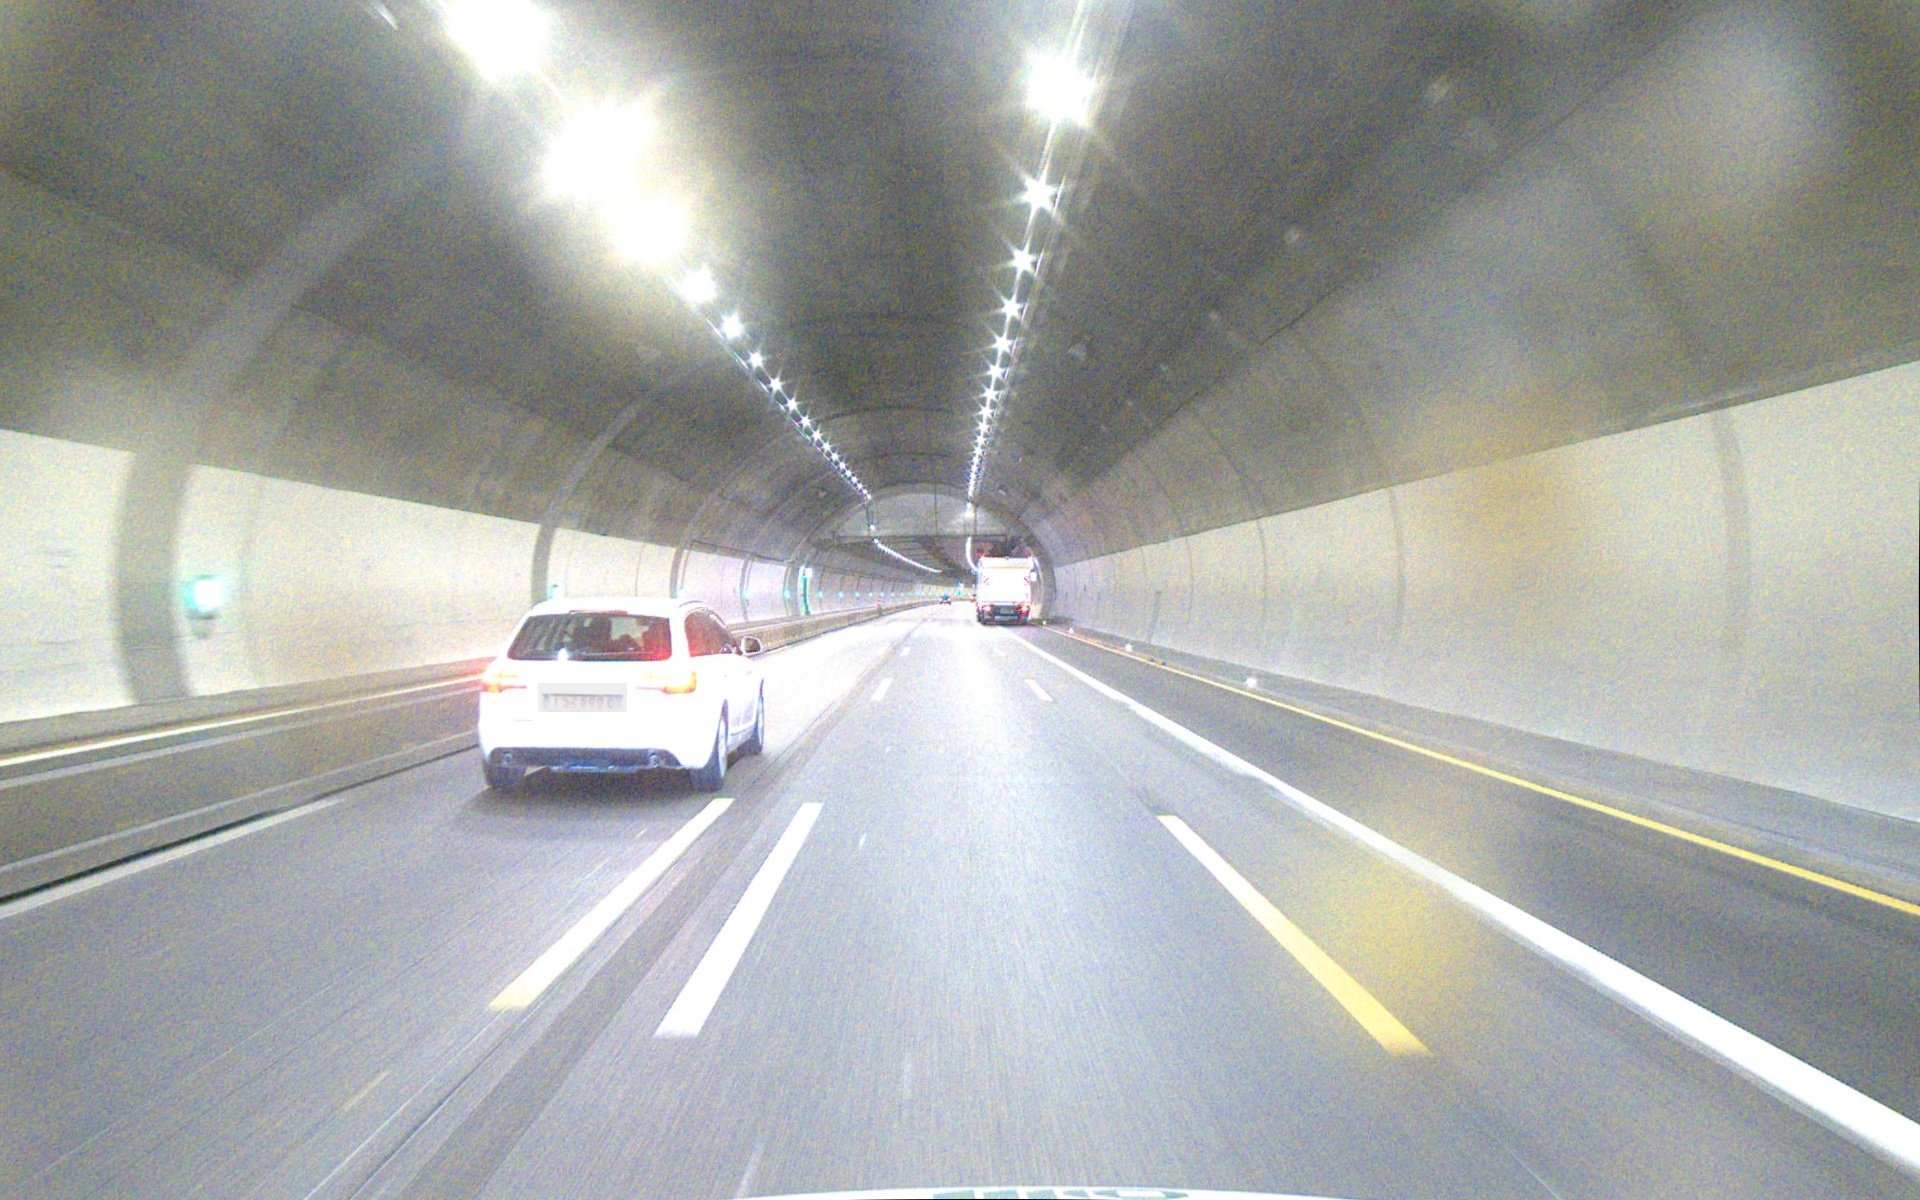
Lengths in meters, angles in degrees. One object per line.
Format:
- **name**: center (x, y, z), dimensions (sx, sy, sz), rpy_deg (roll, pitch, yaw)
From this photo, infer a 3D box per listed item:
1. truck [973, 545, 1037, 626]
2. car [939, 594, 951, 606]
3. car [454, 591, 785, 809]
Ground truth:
- **truck**: center (2.314, -0.689, 88.334), dimensions (3.029, 3.986, 10.366), rpy_deg (-1, -1, 0)
- **car**: center (-2.157, -0.003, 236.479), dimensions (1.723, 1.486, 4.118), rpy_deg (-2, 1, 0)
- **car**: center (-2.627, 0.704, 13.986), dimensions (1.865, 1.511, 4.942), rpy_deg (0, 0, -1)
